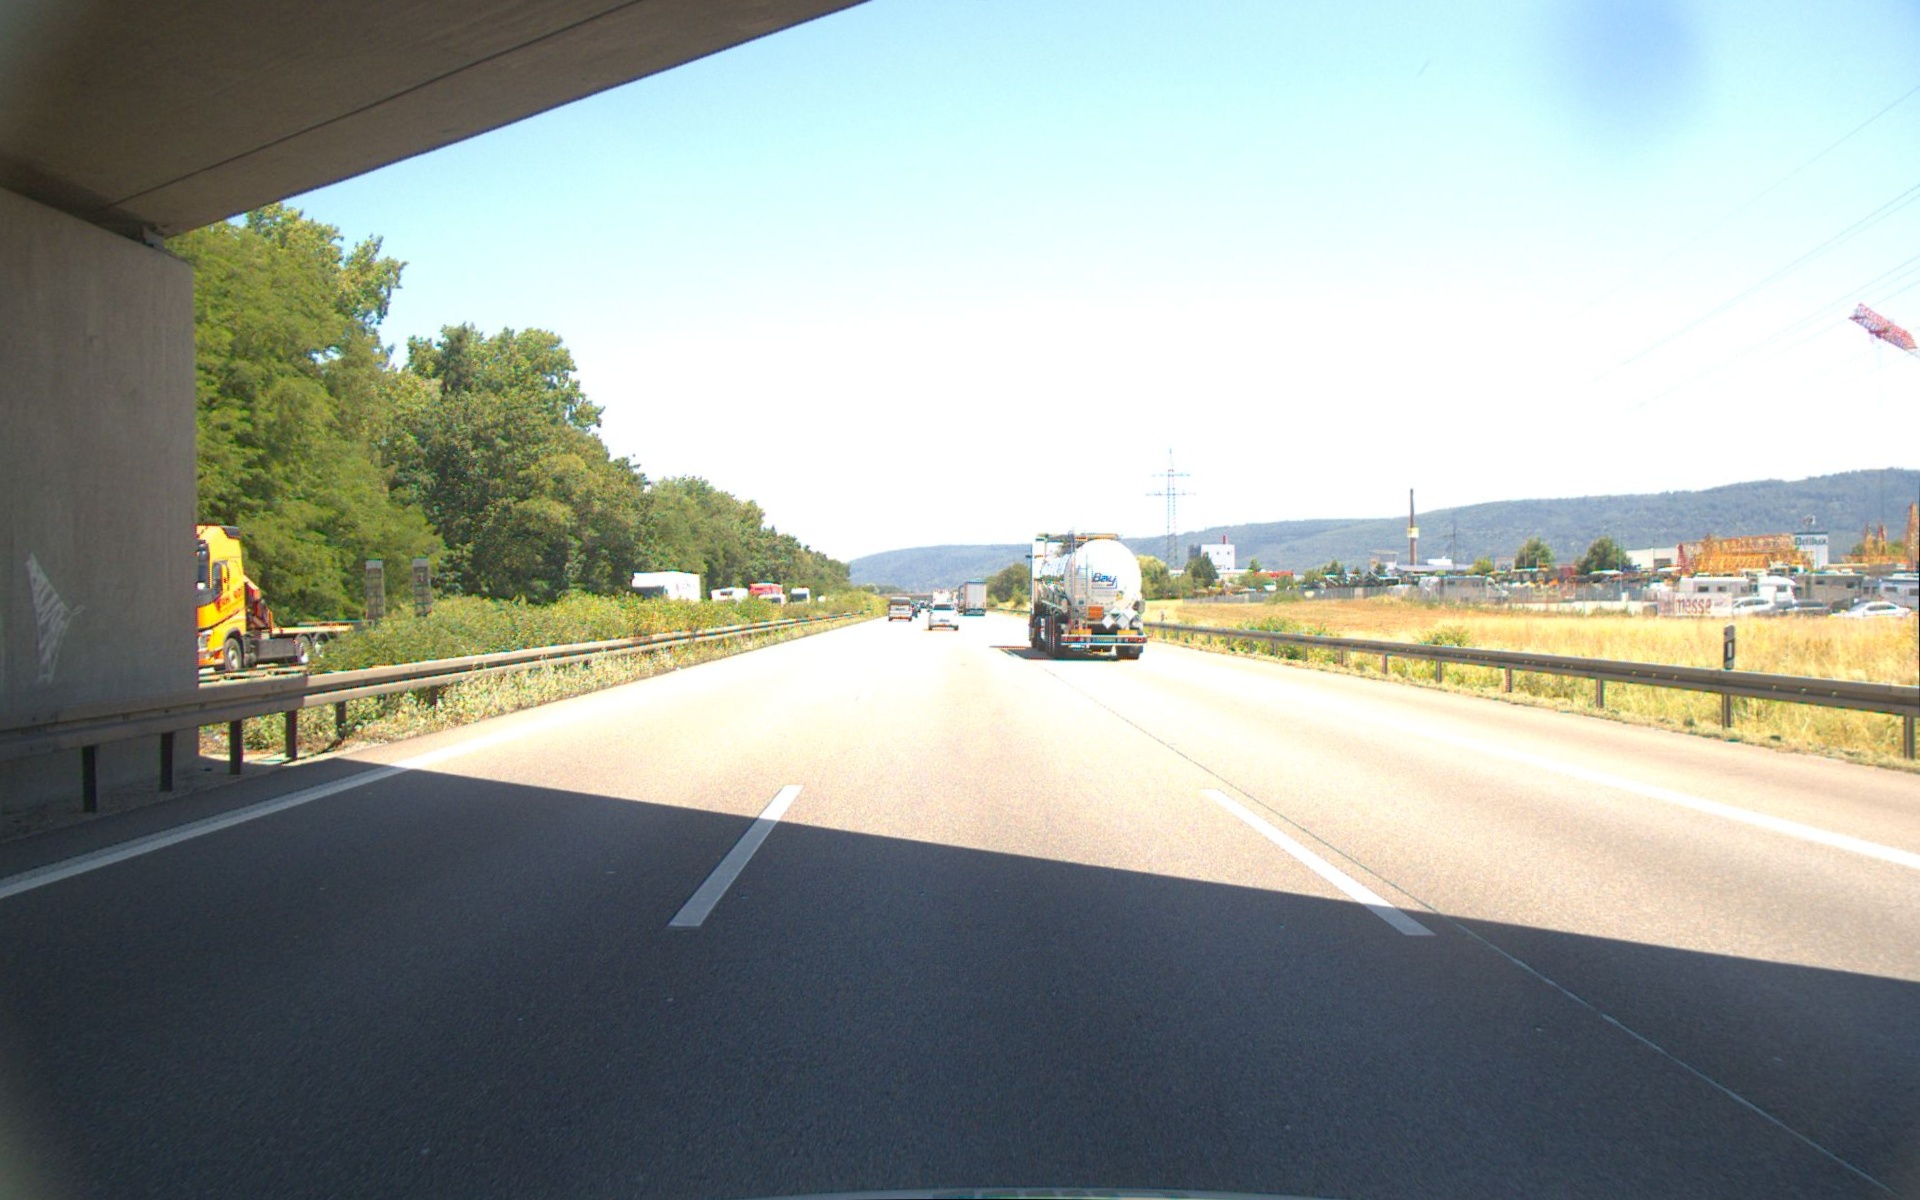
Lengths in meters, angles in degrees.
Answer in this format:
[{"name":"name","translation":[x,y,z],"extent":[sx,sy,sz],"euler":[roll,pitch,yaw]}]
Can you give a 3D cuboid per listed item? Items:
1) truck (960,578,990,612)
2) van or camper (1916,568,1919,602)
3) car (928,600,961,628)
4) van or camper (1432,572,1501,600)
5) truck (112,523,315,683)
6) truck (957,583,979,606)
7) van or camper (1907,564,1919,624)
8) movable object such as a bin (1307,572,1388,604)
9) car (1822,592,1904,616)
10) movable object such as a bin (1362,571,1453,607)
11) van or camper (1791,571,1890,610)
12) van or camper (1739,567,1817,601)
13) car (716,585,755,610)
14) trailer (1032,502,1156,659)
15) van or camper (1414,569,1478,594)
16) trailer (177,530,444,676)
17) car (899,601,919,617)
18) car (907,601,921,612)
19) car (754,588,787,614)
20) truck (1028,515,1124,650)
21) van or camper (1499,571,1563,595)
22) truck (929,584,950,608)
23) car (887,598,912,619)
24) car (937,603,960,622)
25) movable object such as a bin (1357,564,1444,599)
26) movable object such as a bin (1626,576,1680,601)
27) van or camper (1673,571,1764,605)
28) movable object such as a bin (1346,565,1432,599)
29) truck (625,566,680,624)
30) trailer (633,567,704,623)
[{"name":"truck","translation":[1.750,-0.652,200.828],"extent":[3.199,3.925,11.628],"euler":[1,0,-1]},{"name":"van or camper","translation":[81.758,-1.311,135.724],"extent":[5.159,2.813,2.612],"euler":[-1,0,-8]},{"name":"car","translation":[-0.851,0.759,91.889],"extent":[1.770,1.494,3.999],"euler":[1,0,-1]},{"name":"van or camper","translation":[51.000,-1.416,166.688],"extent":[6.212,2.597,2.438],"euler":[-1,0,1]},{"name":"truck","translation":[-20.092,0.069,44.948],"extent":[2.559,3.966,6.498],"euler":[1,0,-1]},{"name":"truck","translation":[1.147,-0.842,256.750],"extent":[3.034,3.535,11.539],"euler":[1,0,-1]},{"name":"van or camper","translation":[54.210,-0.353,86.904],"extent":[7.583,3.155,2.433],"euler":[0,0,-3]},{"name":"movable object such as a bin","translation":[51.079,-1.552,217.998],"extent":[10.045,3.754,2.393],"euler":[-2,0,-1]},{"name":"car","translation":[51.436,0.243,94.199],"extent":[3.811,1.320,1.586],"euler":[0,0,0]},{"name":"movable object such as a bin","translation":[51.530,-1.229,190.718],"extent":[9.511,3.754,3.421],"euler":[-2,0,5]},{"name":"van or camper","translation":[67.605,-0.759,127.039],"extent":[6.316,2.815,2.421],"euler":[-1,0,-3]},{"name":"van or camper","translation":[67.735,-1.314,136.992],"extent":[5.152,2.724,2.615],"euler":[-1,0,-3]},{"name":"car","translation":[-17.171,-0.208,126.682],"extent":[2.255,1.811,5.423],"euler":[1,0,0]},{"name":"trailer","translation":[3.840,-0.539,49.977],"extent":[2.527,4.145,11.100],"euler":[1,0,-1]},{"name":"van or camper","translation":[50.821,-1.920,173.053],"extent":[5.991,2.444,2.602],"euler":[-1,0,1]},{"name":"trailer","translation":[-20.201,0.065,53.060],"extent":[2.559,3.952,15.579],"euler":[1,0,-1]},{"name":"car","translation":[-4.990,0.868,162.096],"extent":[1.798,1.411,3.999],"euler":[1,0,-1]},{"name":"car","translation":[-6.404,0.908,229.264],"extent":[1.798,1.411,3.999],"euler":[1,0,-1]},{"name":"car","translation":[-13.918,0.064,121.942],"extent":[2.050,1.811,5.458],"euler":[1,0,-3]},{"name":"truck","translation":[3.742,-0.547,54.718],"extent":[2.521,4.143,6.391],"euler":[1,0,-1]},{"name":"van or camper","translation":[61.188,-1.802,177.292],"extent":[5.991,2.444,2.602],"euler":[-1,0,1]},{"name":"truck","translation":[-3.242,-0.660,259.263],"extent":[3.034,3.535,11.539],"euler":[1,0,-1]},{"name":"car","translation":[-4.855,0.654,133.345],"extent":[1.814,1.661,3.999],"euler":[1,0,-1]},{"name":"car","translation":[-0.923,1.010,135.469],"extent":[1.846,1.542,3.999],"euler":[1,0,-1]},{"name":"movable object such as a bin","translation":[51.690,-2.122,194.270],"extent":[9.511,3.754,2.978],"euler":[-2,0,5]},{"name":"movable object such as a bin","translation":[75.117,-1.226,179.469],"extent":[2.853,2.599,6.806],"euler":[-2,0,-1]},{"name":"van or camper","translation":[65.404,-1.022,142.716],"extent":[6.223,2.724,3.324],"euler":[-1,0,-2]},{"name":"movable object such as a bin","translation":[51.822,-2.129,199.942],"extent":[9.516,3.754,2.977],"euler":[-2,0,1]},{"name":"truck","translation":[-20.882,-0.336,112.700],"extent":[2.738,3.786,5.116],"euler":[1,0,-1]},{"name":"trailer","translation":[-20.956,-0.343,119.652],"extent":[2.768,3.774,13.926],"euler":[1,0,-1]}]
